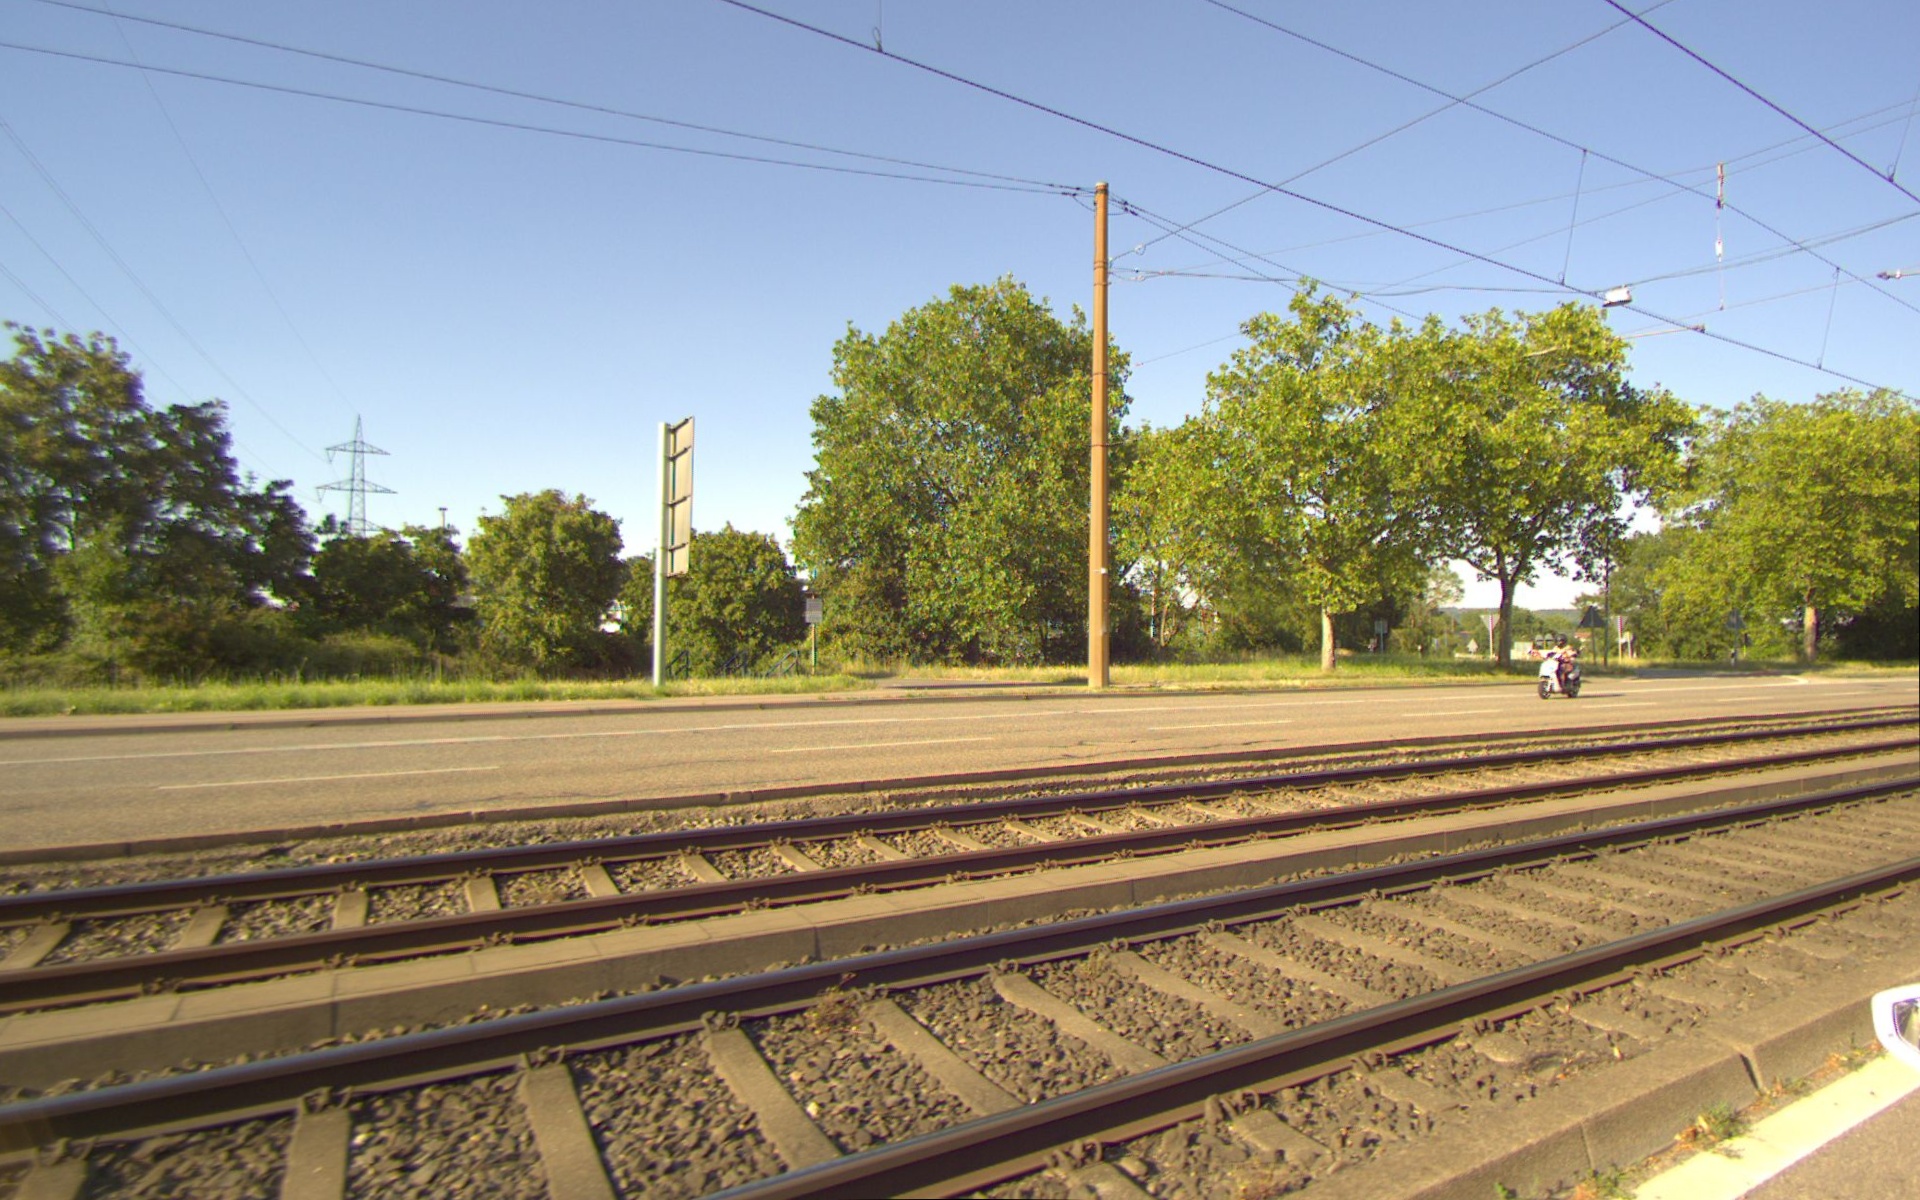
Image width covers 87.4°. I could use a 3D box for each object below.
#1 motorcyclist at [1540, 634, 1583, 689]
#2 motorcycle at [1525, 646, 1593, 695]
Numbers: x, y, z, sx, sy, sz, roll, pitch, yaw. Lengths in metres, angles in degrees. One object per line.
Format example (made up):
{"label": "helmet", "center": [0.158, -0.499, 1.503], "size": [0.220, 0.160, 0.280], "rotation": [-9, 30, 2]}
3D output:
{"label": "motorcyclist", "center": [14.564, 1.474, 24.312], "size": [0.795, 1.287, 0.533], "rotation": [2, 1, -30]}
{"label": "motorcycle", "center": [14.476, 1.691, 24.266], "size": [1.880, 1.105, 0.533], "rotation": [2, 1, -31]}
